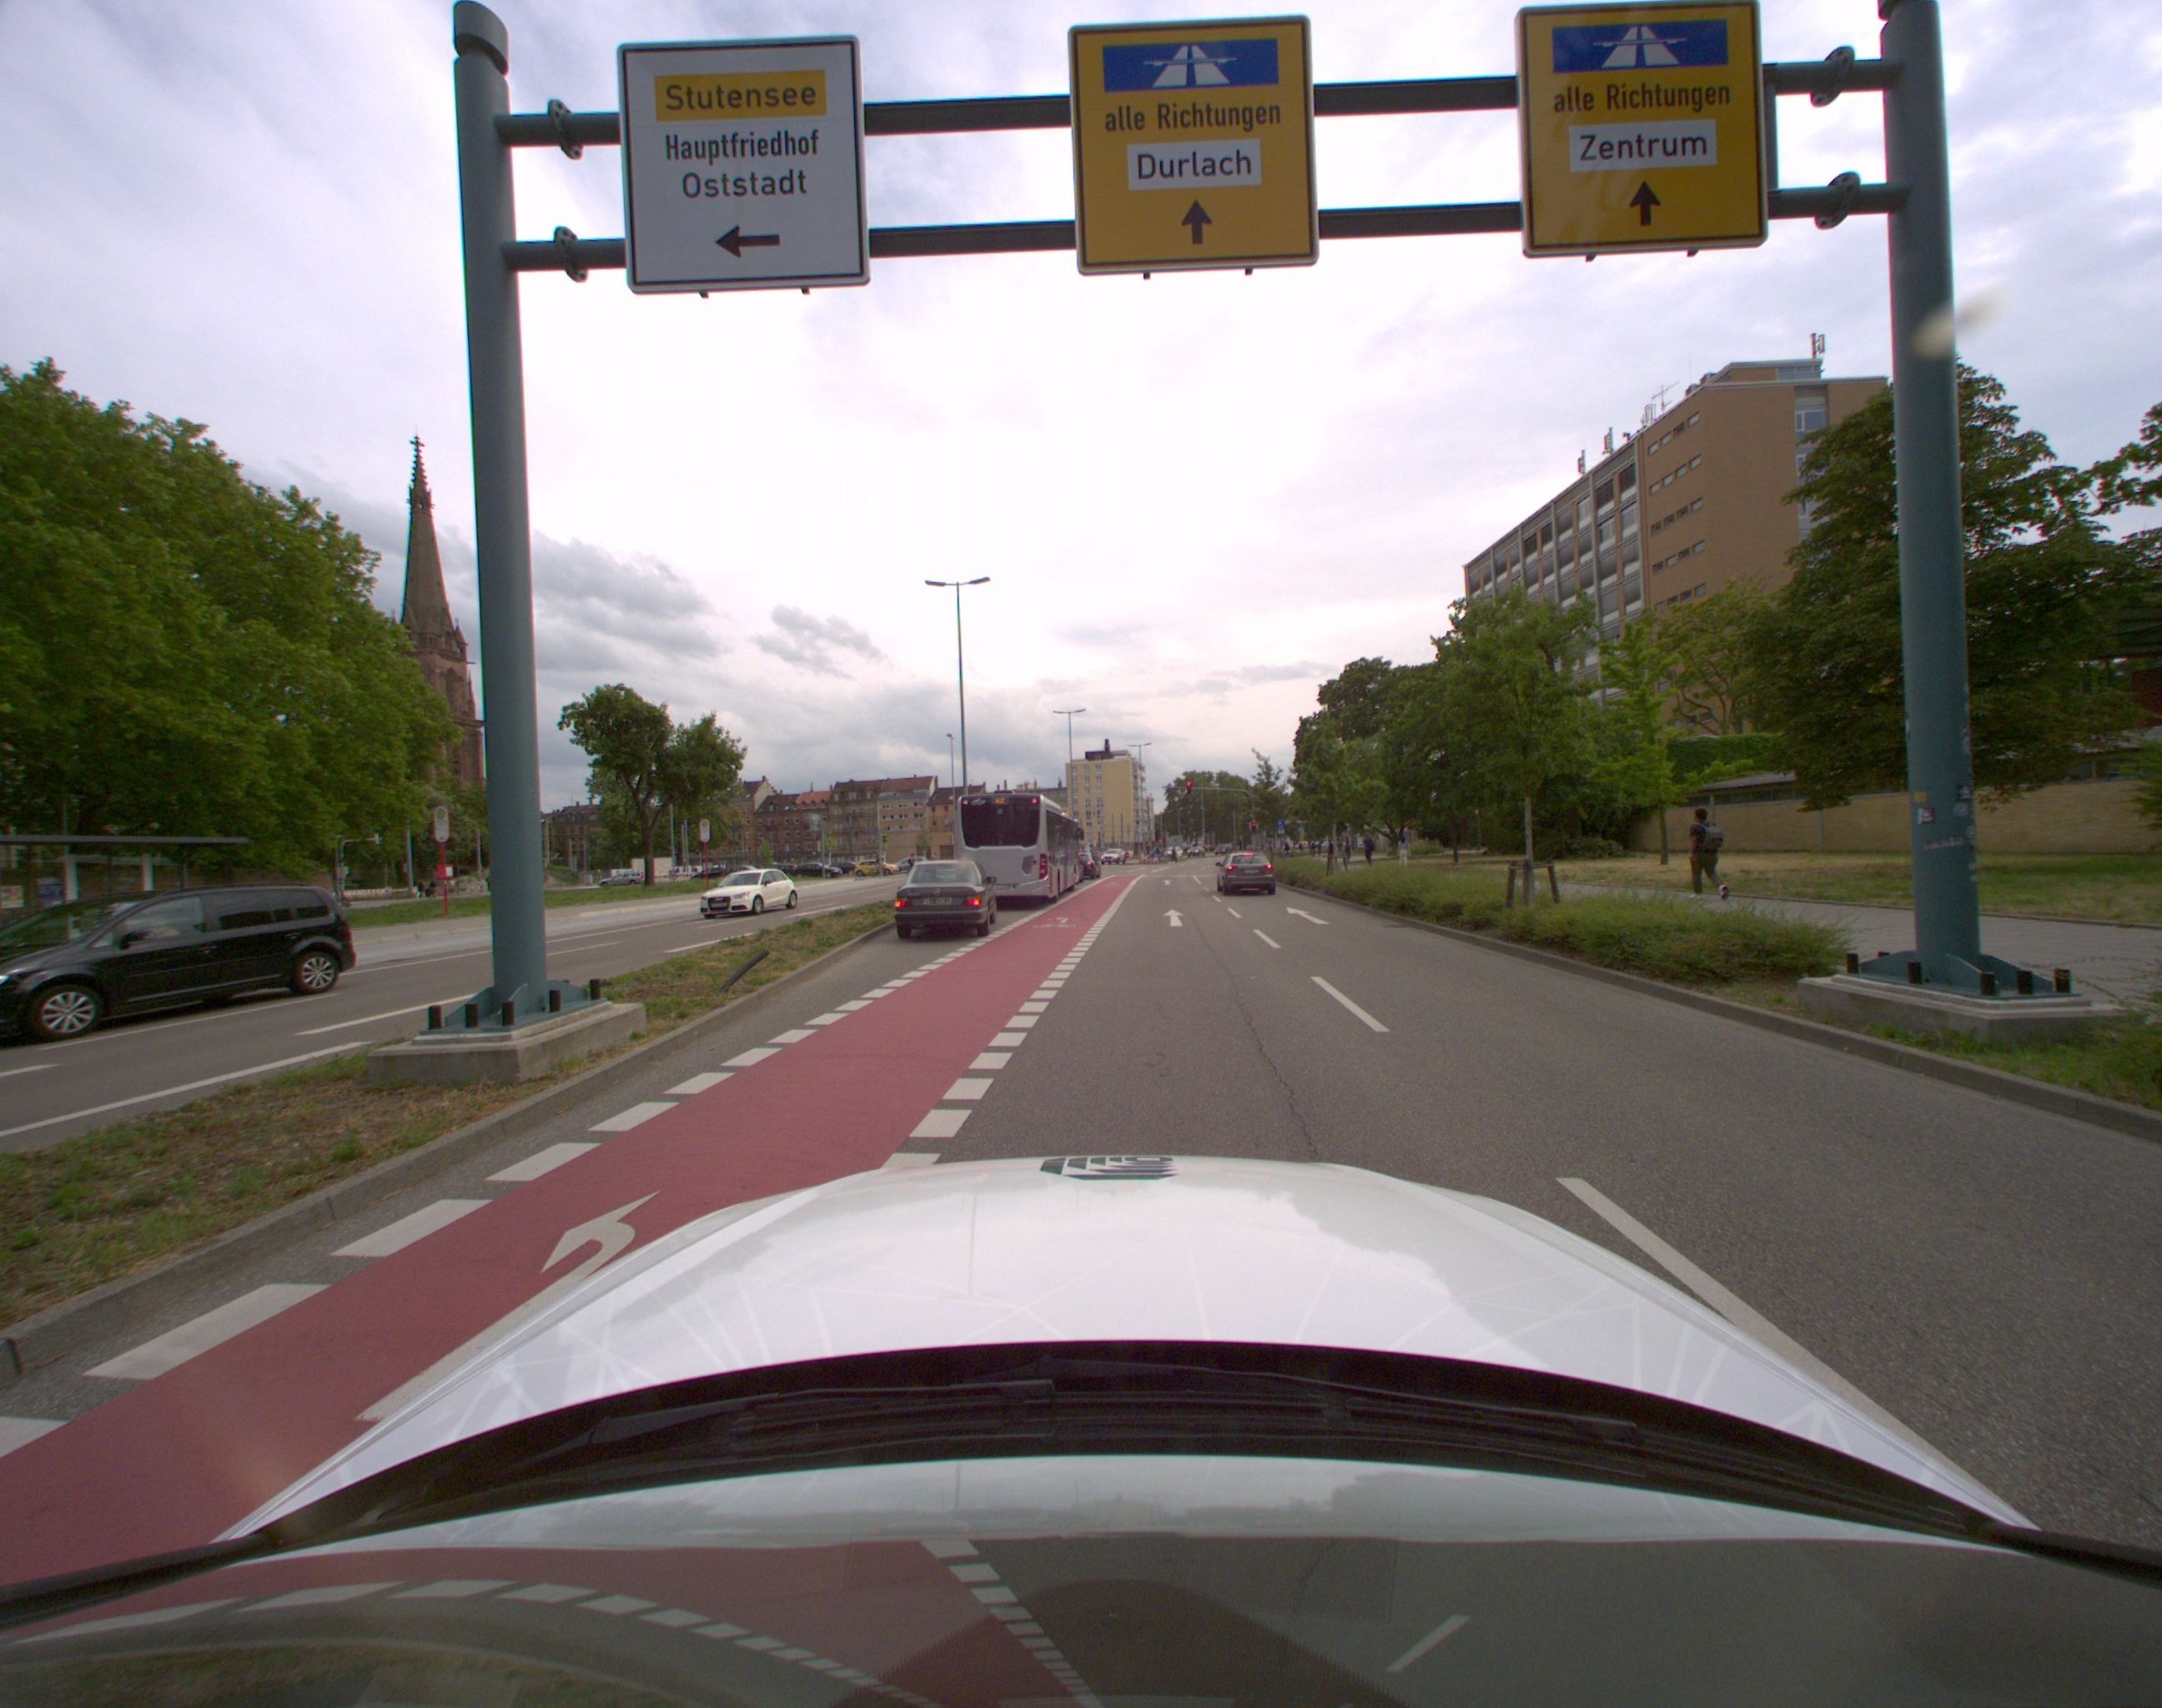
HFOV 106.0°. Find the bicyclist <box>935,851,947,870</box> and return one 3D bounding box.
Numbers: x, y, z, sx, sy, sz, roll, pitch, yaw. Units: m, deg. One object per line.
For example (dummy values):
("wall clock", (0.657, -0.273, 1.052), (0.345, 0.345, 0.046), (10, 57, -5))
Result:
("bicyclist", (-12.022, 0.548, 70.027), (0.783, 1.643, 0.614), (-3, 0, 2))

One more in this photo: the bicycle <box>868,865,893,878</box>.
("bicycle", (-17.305, 1.533, 70.400), (1.958, 0.982, 0.631), (-3, 0, -1))

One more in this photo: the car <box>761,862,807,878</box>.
("car", (-28.150, 1.486, 77.160), (3.751, 1.394, 1.584), (-1, 0, -1))

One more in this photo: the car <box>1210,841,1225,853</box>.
("car", (24.402, -1.183, 145.669), (1.977, 2.013, 4.020), (-3, 0, 19))

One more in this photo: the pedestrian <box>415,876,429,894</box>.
("pedestrian", (-57.987, 2.704, 71.634), (0.560, 1.560, 0.725), (-3, 0, -1))

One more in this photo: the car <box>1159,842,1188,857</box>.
("car", (14.015, -0.643, 123.518), (2.559, 2.109, 5.634), (-2, 0, 25))

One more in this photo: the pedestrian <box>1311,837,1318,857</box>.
("pedestrian", (24.436, -0.739, 85.202), (0.611, 2.013, 0.598), (-2, 0, 3))

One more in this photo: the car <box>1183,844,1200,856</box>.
("car", (18.136, -0.695, 133.108), (1.791, 1.850, 4.021), (-3, 0, 21))

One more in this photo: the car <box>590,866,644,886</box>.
("car", (-44.443, 2.121, 78.105), (4.142, 1.649, 1.646), (-3, 0, -2))

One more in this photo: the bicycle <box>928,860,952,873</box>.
("bicycle", (-12.113, 1.068, 70.025), (1.957, 0.982, 0.631), (-3, 0, 2))

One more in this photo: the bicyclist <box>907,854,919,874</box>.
("bicyclist", (-14.520, 0.839, 70.407), (0.783, 1.643, 0.573), (-3, 0, 4))

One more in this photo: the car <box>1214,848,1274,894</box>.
("car", (5.690, 0.542, 28.835), (1.715, 1.457, 3.743), (-2, 0, 6))

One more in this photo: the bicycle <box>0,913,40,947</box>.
("bicycle", (-32.288, 2.285, 24.444), (0.482, 0.907, 1.610), (0, -1, -19))

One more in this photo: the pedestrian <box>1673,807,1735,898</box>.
("pedestrian", (11.937, -0.032, 15.624), (0.584, 1.682, 0.749), (-3, 0, 5))

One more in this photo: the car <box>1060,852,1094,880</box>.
("car", (-0.199, 0.636, 44.935), (1.648, 1.396, 3.862), (-2, 0, 2))

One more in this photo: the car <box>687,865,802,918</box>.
("car", (-10.655, 1.131, 26.095), (1.662, 1.389, 3.928), (-4, 0, 5))

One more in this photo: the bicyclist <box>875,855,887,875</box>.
("bicyclist", (-17.299, 0.939, 70.403), (0.784, 1.643, 0.572), (-3, 0, -1))

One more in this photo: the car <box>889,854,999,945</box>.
("car", (-2.571, 0.777, 16.151), (1.758, 1.489, 4.163), (-2, 0, -5))

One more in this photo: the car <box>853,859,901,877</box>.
("car", (-18.270, 1.214, 72.965), (3.844, 1.517, 1.660), (-1, 0, -1))

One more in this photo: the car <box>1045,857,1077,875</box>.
("car", (-2.146, 1.319, 89.892), (1.976, 1.703, 4.023), (-2, 0, 24))

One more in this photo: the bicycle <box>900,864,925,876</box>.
("bicycle", (-14.581, 1.367, 70.410), (1.956, 0.982, 0.631), (-3, 0, 3))

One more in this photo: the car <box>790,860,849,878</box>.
("car", (-23.280, 1.306, 72.650), (4.654, 1.475, 1.660), (-1, 0, -1))

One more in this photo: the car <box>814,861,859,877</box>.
("car", (-23.186, 1.382, 77.344), (3.751, 1.394, 1.584), (-1, 0, -1))

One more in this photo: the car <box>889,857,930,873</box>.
("car", (-16.382, 1.037, 77.771), (3.678, 1.394, 1.577), (-1, 0, -15))

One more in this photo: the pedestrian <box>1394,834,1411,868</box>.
("pedestrian", (14.246, -0.136, 36.057), (0.651, 1.470, 0.565), (-3, 0, 22))

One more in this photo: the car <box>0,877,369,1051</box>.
("car", (-12.005, 1.269, 10.327), (1.793, 1.665, 4.307), (-4, 0, 6))

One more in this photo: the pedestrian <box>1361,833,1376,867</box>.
("pedestrian", (14.946, -0.218, 42.296), (0.641, 1.713, 0.564), (-3, 0, 20))

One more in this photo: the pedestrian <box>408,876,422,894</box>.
("pedestrian", (-58.940, 2.723, 72.065), (0.560, 1.560, 0.725), (-3, 0, -1))

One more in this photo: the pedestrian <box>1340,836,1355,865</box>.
("pedestrian", (16.513, -0.229, 50.482), (0.795, 1.713, 0.768), (-3, 0, 18))

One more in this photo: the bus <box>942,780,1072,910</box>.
("bus", (-2.040, -0.277, 25.988), (2.819, 3.390, 8.190), (-2, 0, 3))
